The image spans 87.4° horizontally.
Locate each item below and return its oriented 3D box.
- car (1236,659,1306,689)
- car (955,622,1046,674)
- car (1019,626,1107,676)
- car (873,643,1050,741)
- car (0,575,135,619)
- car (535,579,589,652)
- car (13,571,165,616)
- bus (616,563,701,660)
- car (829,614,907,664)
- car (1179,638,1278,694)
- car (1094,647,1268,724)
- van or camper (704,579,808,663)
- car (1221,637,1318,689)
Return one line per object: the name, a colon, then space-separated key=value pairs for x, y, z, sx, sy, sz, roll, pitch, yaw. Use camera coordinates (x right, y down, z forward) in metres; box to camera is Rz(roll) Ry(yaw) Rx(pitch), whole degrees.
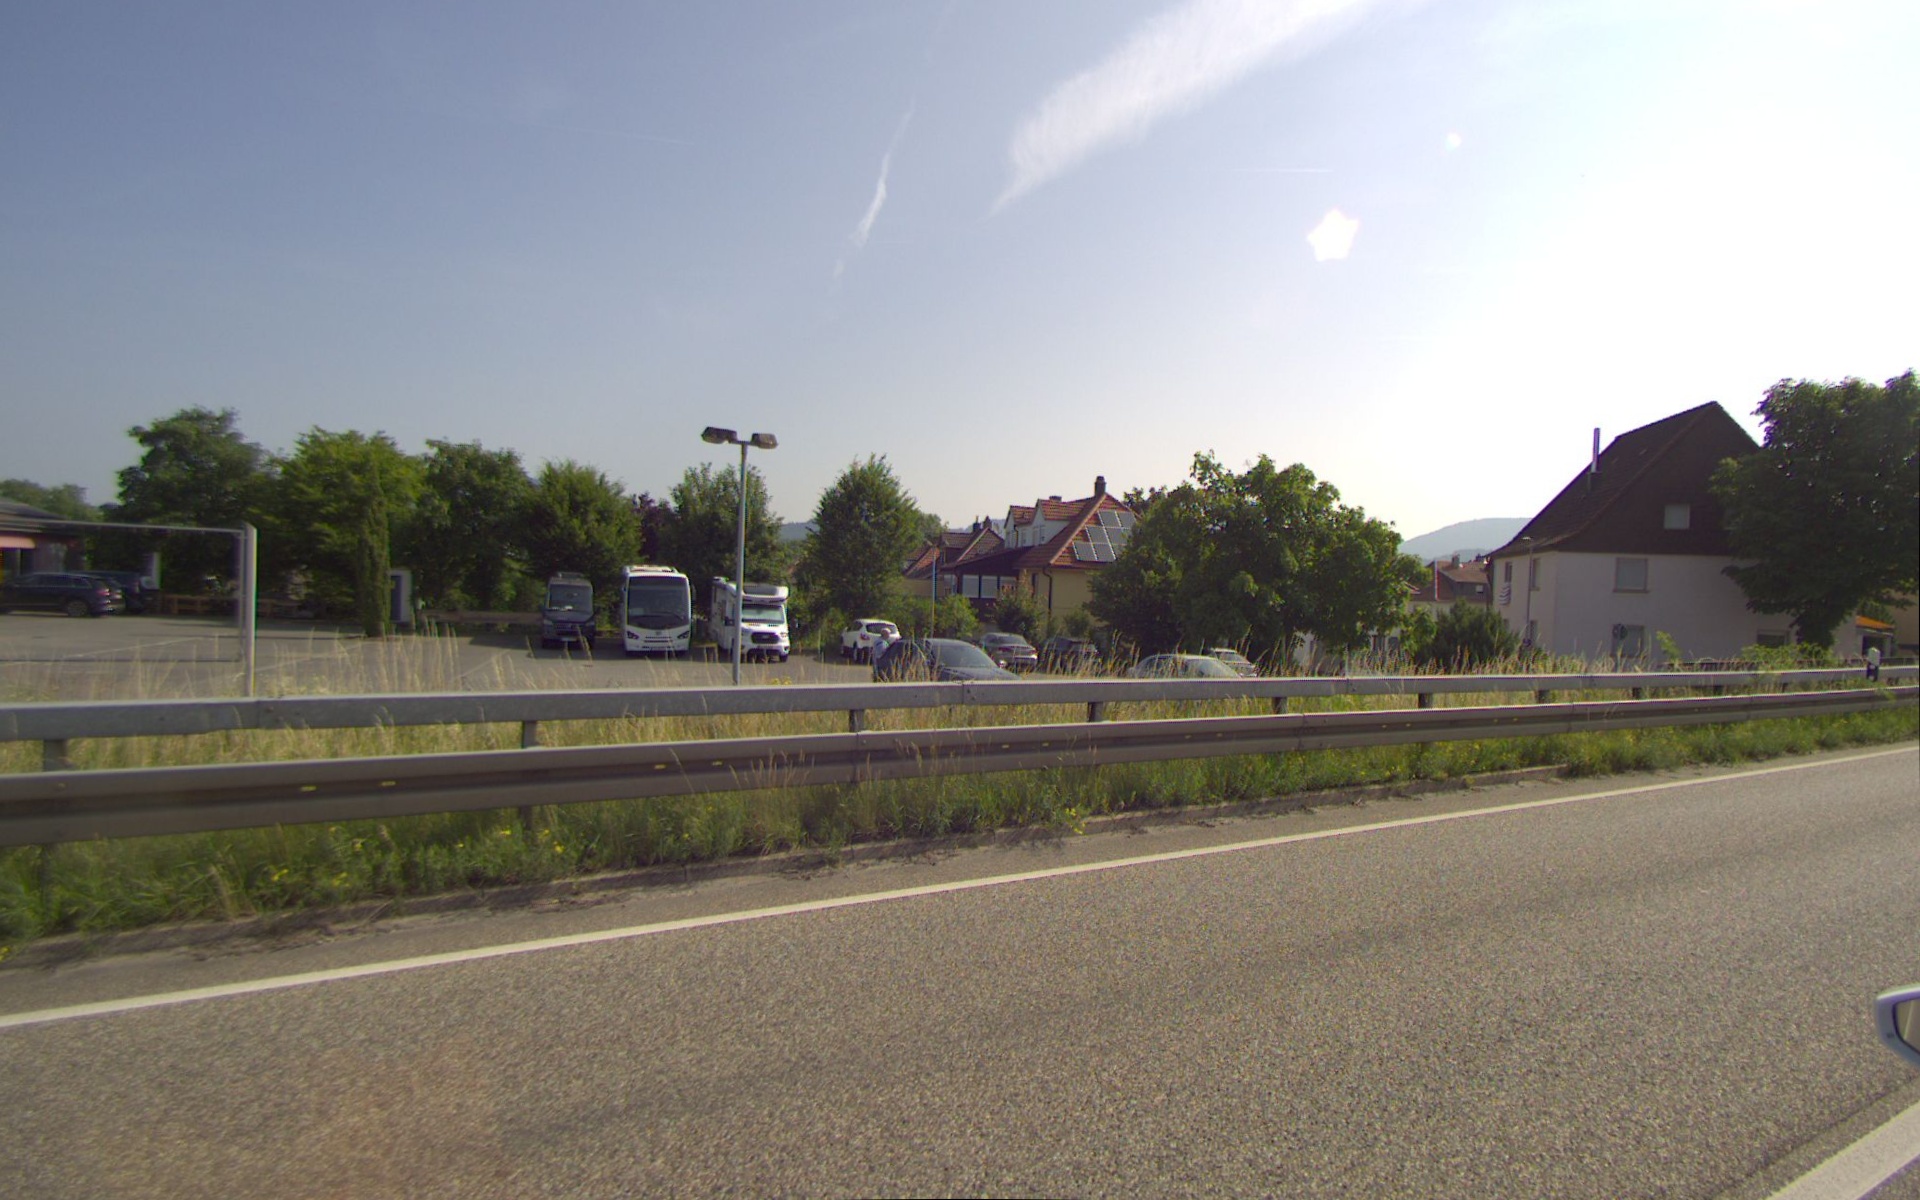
car: x=16.597 y=3.934 z=53.799 sx=1.727 sy=1.458 sz=3.831 roll=0 pitch=-2 yaw=-18
car: x=1.519 y=1.848 z=39.761 sx=1.835 sy=1.655 sz=4.550 roll=4 pitch=0 yaw=-21
car: x=4.140 y=2.057 z=41.302 sx=1.833 sy=1.655 sz=4.554 roll=4 pitch=0 yaw=-18
car: x=-0.089 y=1.861 z=21.498 sx=1.853 sy=1.687 sz=4.277 roll=1 pitch=0 yaw=-31
car: x=-36.115 y=-0.124 z=40.085 sx=4.561 sy=1.629 sz=1.735 roll=1 pitch=0 yaw=-21
car: x=-15.818 y=0.553 z=40.064 sx=1.834 sy=2.696 sz=5.013 roll=1 pitch=1 yaw=-21
car: x=-37.108 y=-0.264 z=42.940 sx=4.561 sy=1.780 sz=1.735 roll=1 pitch=0 yaw=-21
bus: x=-12.159 y=0.293 z=39.960 sx=2.625 sy=3.400 sz=9.084 roll=0 pitch=1 yaw=-21
car: x=-3.671 y=1.496 z=39.350 sx=1.834 sy=1.655 sz=4.550 roll=1 pitch=1 yaw=-21
car: x=10.887 y=2.642 z=41.087 sx=1.831 sy=1.655 sz=4.558 roll=4 pitch=2 yaw=-14
car: x=5.288 y=2.006 z=24.590 sx=1.850 sy=1.524 sz=4.283 roll=1 pitch=0 yaw=-27
van or camper: x=-8.041 y=0.695 z=38.787 sx=2.706 sy=2.880 sz=7.382 roll=2 pitch=1 yaw=-21
car: x=13.215 y=2.663 z=43.175 sx=1.833 sy=1.655 sz=4.155 roll=4 pitch=2 yaw=-17
